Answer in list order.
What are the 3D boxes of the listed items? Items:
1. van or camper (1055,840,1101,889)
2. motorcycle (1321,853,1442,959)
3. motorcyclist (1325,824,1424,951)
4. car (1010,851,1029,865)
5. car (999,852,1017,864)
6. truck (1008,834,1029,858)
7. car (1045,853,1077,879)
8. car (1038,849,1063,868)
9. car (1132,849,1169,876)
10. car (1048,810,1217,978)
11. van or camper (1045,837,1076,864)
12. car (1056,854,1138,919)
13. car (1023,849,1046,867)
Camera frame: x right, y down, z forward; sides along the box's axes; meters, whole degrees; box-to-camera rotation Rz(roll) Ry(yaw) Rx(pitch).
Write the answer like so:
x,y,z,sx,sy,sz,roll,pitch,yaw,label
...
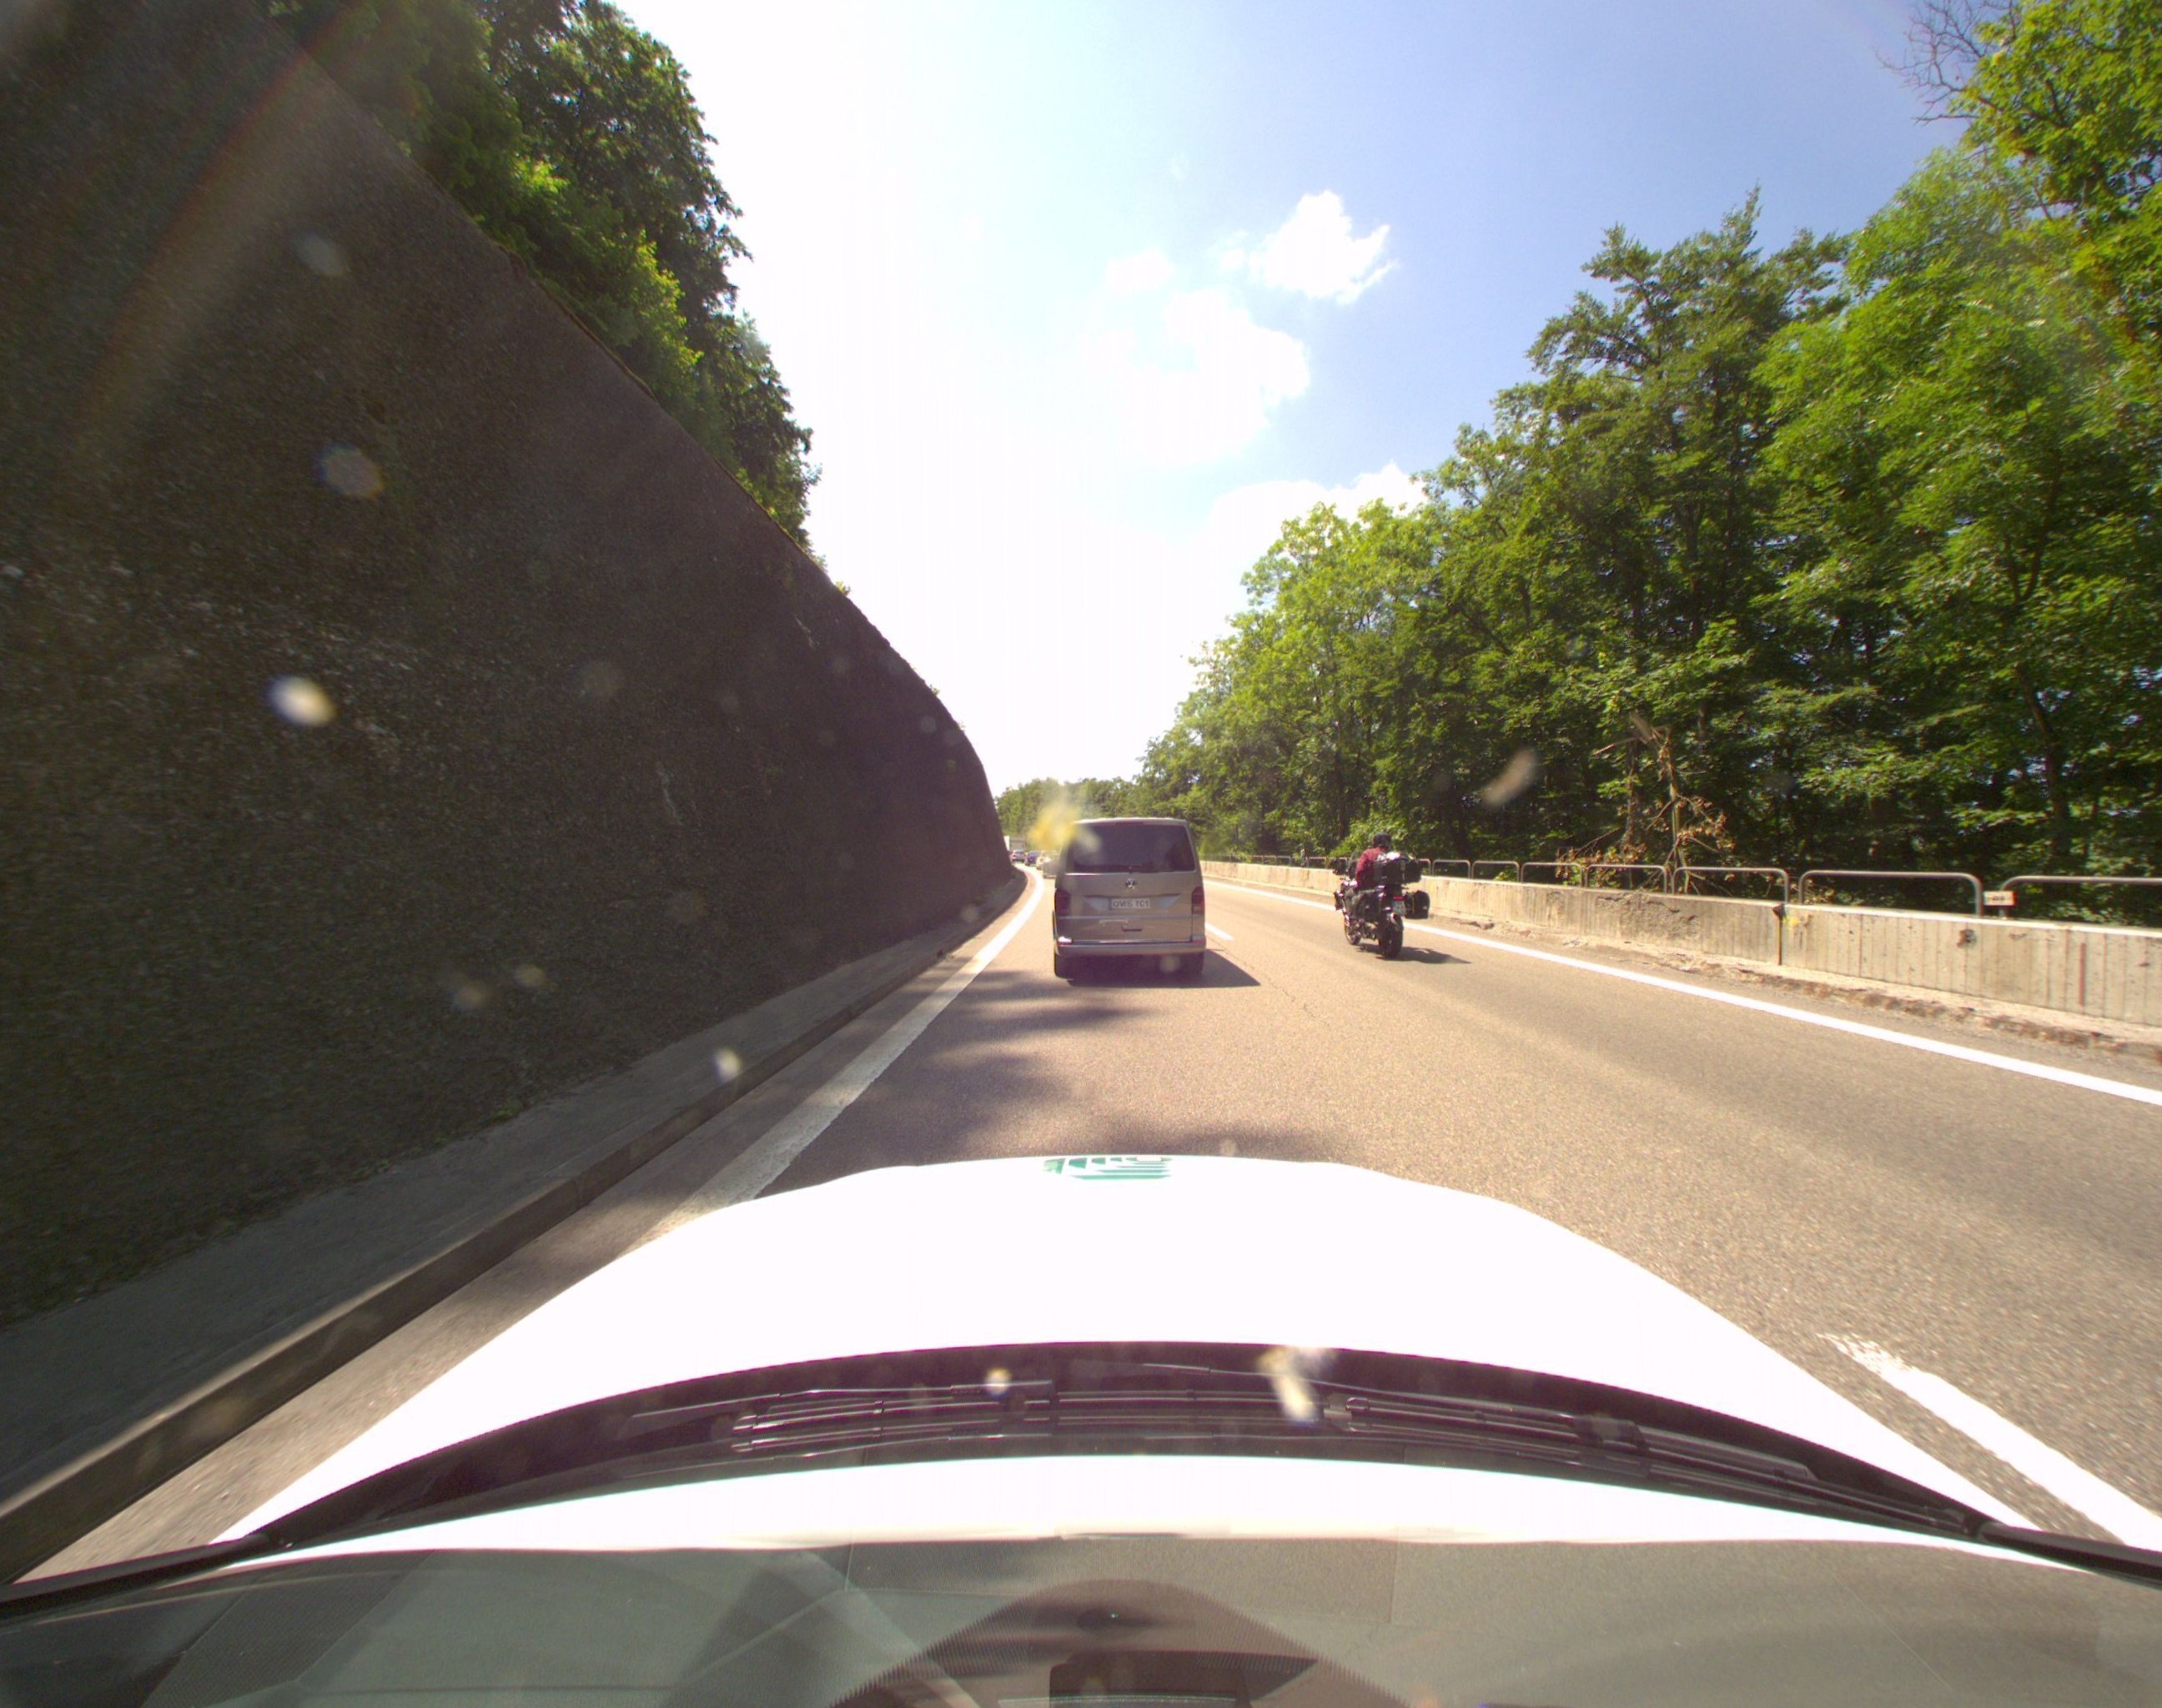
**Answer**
x,y,z,sx,sy,sz,roll,pitch,yaw,label
-0.167,0.429,34.739,1.848,1.942,4.162,-1,0,-2,van or camper
4.400,0.689,12.190,0.968,1.419,2.683,0,0,3,motorcycle
4.385,0.474,12.285,1.056,1.800,1.339,0,0,2,motorcyclist
-7.027,0.435,93.164,1.988,1.618,3.998,0,0,-1,car
-9.537,0.525,106.330,1.754,1.571,3.751,0,0,-16,car
-10.099,-1.212,131.200,2.924,3.687,7.702,-1,0,-8,truck
-1.198,0.658,46.992,1.767,1.472,3.996,0,0,-3,car
-2.488,0.335,64.830,1.859,1.486,3.994,0,0,-4,car
4.040,0.485,47.652,1.680,1.458,3.997,1,0,-2,car
0.663,0.460,11.757,1.933,1.931,4.696,0,0,2,car
-2.387,-0.439,92.519,2.603,2.855,6.316,4,0,-9,van or camper
0.307,0.773,21.550,1.900,1.489,4.375,1,0,-2,car
-4.535,0.368,78.679,1.857,1.619,3.988,0,0,-9,car
